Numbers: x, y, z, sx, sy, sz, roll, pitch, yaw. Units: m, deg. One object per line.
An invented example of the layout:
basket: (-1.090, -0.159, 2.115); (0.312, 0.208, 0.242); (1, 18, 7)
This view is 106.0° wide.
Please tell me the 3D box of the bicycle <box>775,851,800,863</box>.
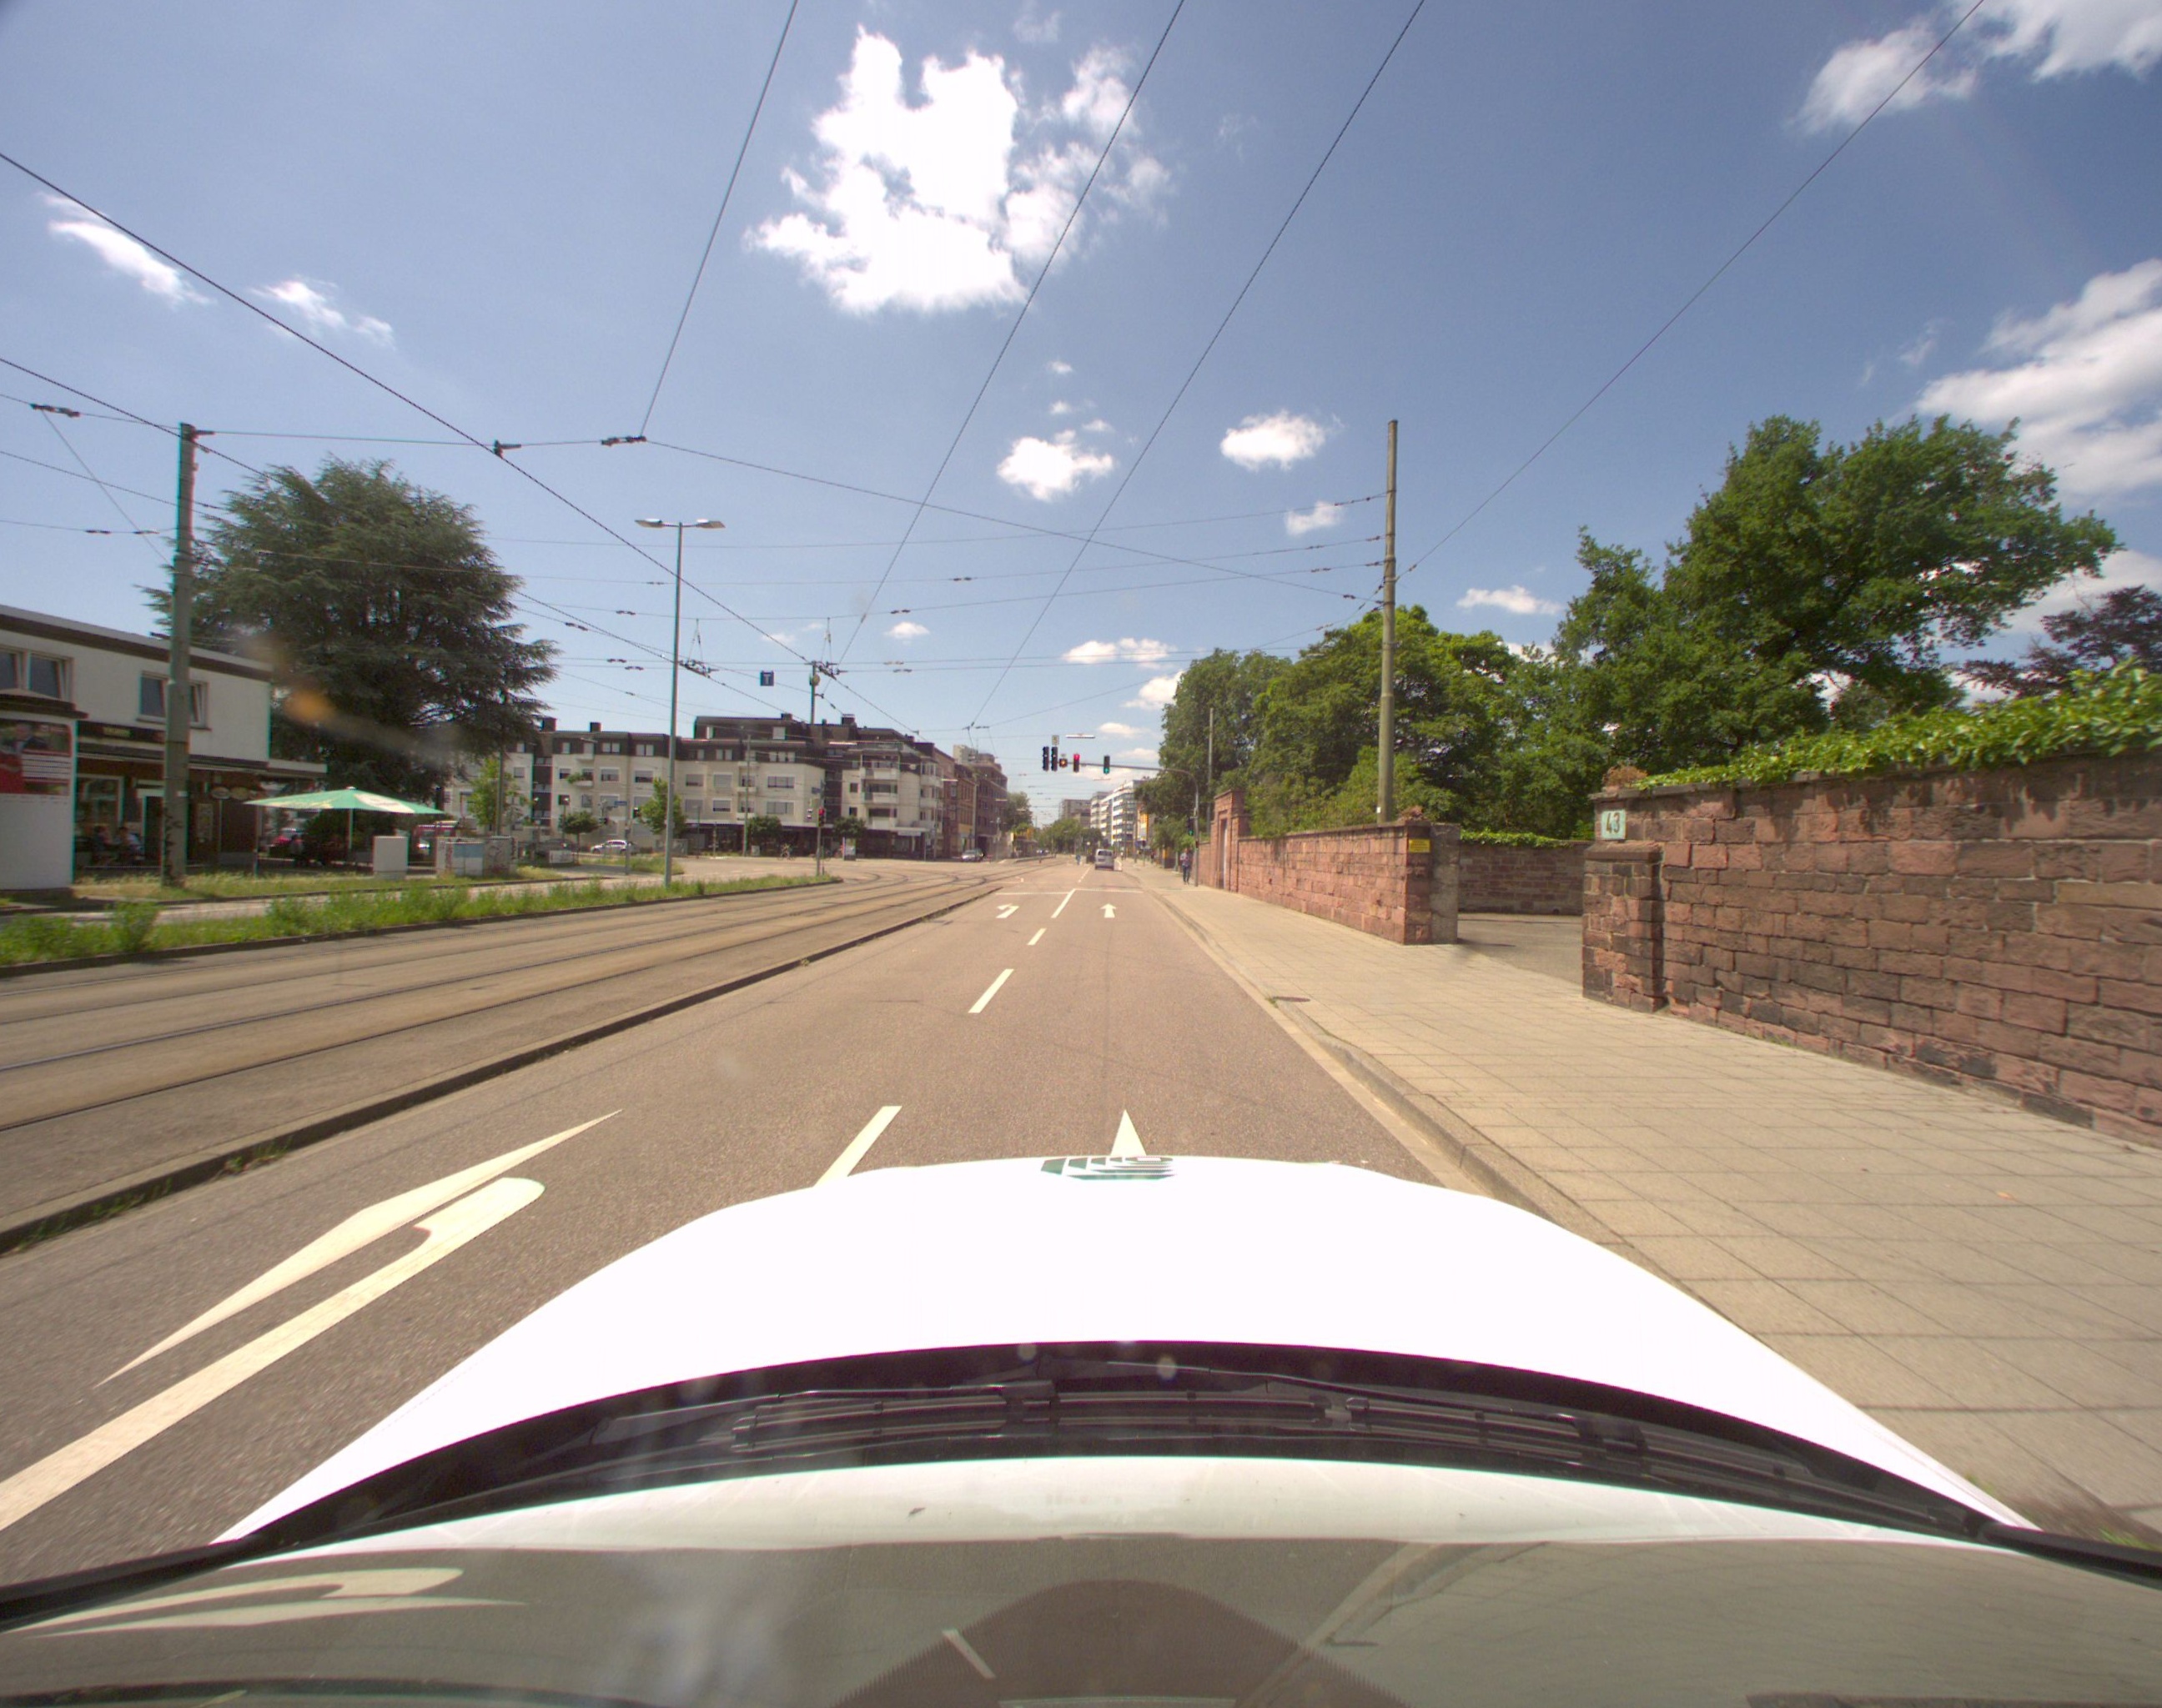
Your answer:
bicycle: (-28.300, 0.288, 78.482); (2.268, 1.101, 0.511); (0, -1, -38)

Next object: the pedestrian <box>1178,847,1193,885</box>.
pedestrian: (5.171, 0.592, 40.322); (0.711, 1.852, 0.769); (1, 0, 8)

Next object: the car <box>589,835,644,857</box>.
car: (-43.796, -0.745, 76.782); (3.974, 1.912, 2.000); (1, 0, 0)

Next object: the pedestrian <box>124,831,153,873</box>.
pedestrian: (-28.840, -0.065, 24.928); (0.339, 1.268, 0.453); (1, 0, 4)

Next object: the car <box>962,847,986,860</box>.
car: (-12.732, -0.122, 96.965); (1.984, 1.471, 4.406); (1, 0, 4)

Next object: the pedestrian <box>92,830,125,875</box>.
pedestrian: (-28.182, -0.050, 23.599); (0.317, 1.268, 0.502); (1, 0, 2)

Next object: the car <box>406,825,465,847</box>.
car: (-61.069, -1.703, 77.123); (3.970, 2.013, 2.002); (1, 0, 3)

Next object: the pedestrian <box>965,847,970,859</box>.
pedestrian: (-18.369, -0.174, 131.404); (0.615, 2.014, 0.810); (2, -1, 0)

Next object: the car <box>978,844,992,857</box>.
car: (-13.681, -0.530, 116.049); (1.720, 1.683, 4.273); (2, 1, -5)

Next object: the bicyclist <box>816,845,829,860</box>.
bicyclist: (-25.585, -0.119, 80.627); (0.623, 1.423, 0.970); (-1, -1, 34)

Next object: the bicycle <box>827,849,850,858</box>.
bicycle: (-25.494, -0.019, 85.669); (2.270, 0.935, 0.663); (0, -1, -44)

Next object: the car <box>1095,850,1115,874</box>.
car: (2.196, 0.687, 73.850); (1.745, 2.013, 4.004); (1, 1, 3)

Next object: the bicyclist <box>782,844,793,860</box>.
bicyclist: (-28.295, -0.196, 78.488); (0.858, 1.487, 0.728); (1, -1, -39)

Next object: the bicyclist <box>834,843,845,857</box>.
bicyclist: (-25.437, -0.437, 85.714); (0.853, 1.468, 0.648); (1, -1, -42)

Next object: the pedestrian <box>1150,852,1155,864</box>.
pedestrian: (9.582, 0.570, 109.013); (0.574, 1.556, 0.787); (0, -1, 5)

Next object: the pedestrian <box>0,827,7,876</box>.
pedestrian: (-28.278, -0.076, 21.024); (0.351, 1.268, 0.533); (1, 0, 2)

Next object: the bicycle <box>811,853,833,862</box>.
bicycle: (-25.624, 0.317, 80.565); (0.413, 0.881, 2.271); (-1, -1, 33)
